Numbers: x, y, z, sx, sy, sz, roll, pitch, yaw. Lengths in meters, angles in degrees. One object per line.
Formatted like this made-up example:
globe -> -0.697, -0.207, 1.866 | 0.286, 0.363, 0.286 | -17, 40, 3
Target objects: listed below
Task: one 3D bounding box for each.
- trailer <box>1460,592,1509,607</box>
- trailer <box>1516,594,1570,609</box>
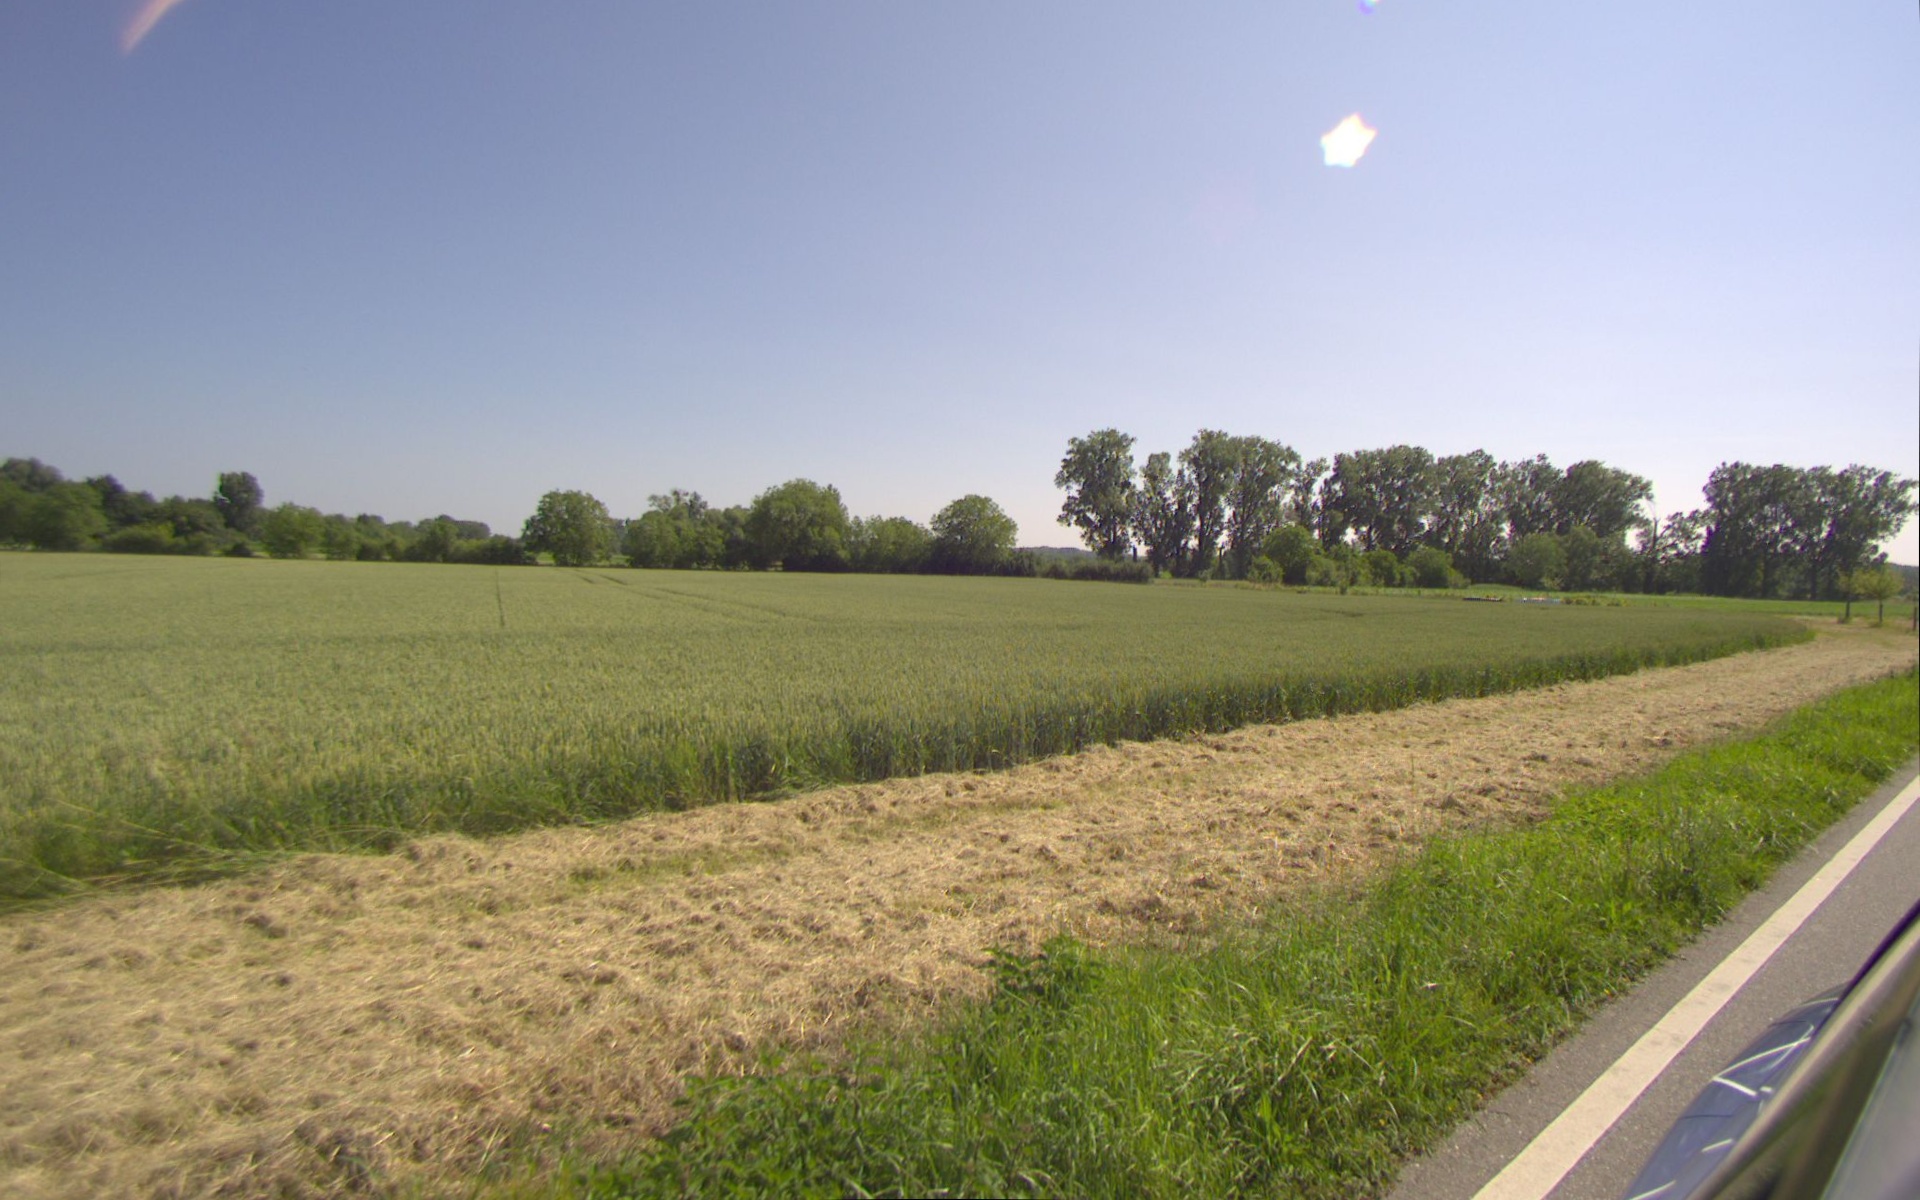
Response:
trailer -> 45.939, -0.068, 88.711 | 1.630, 1.204, 3.554 | 0, 1, -29
trailer -> 48.400, 0.077, 84.025 | 1.630, 1.204, 3.601 | 0, 1, -29
